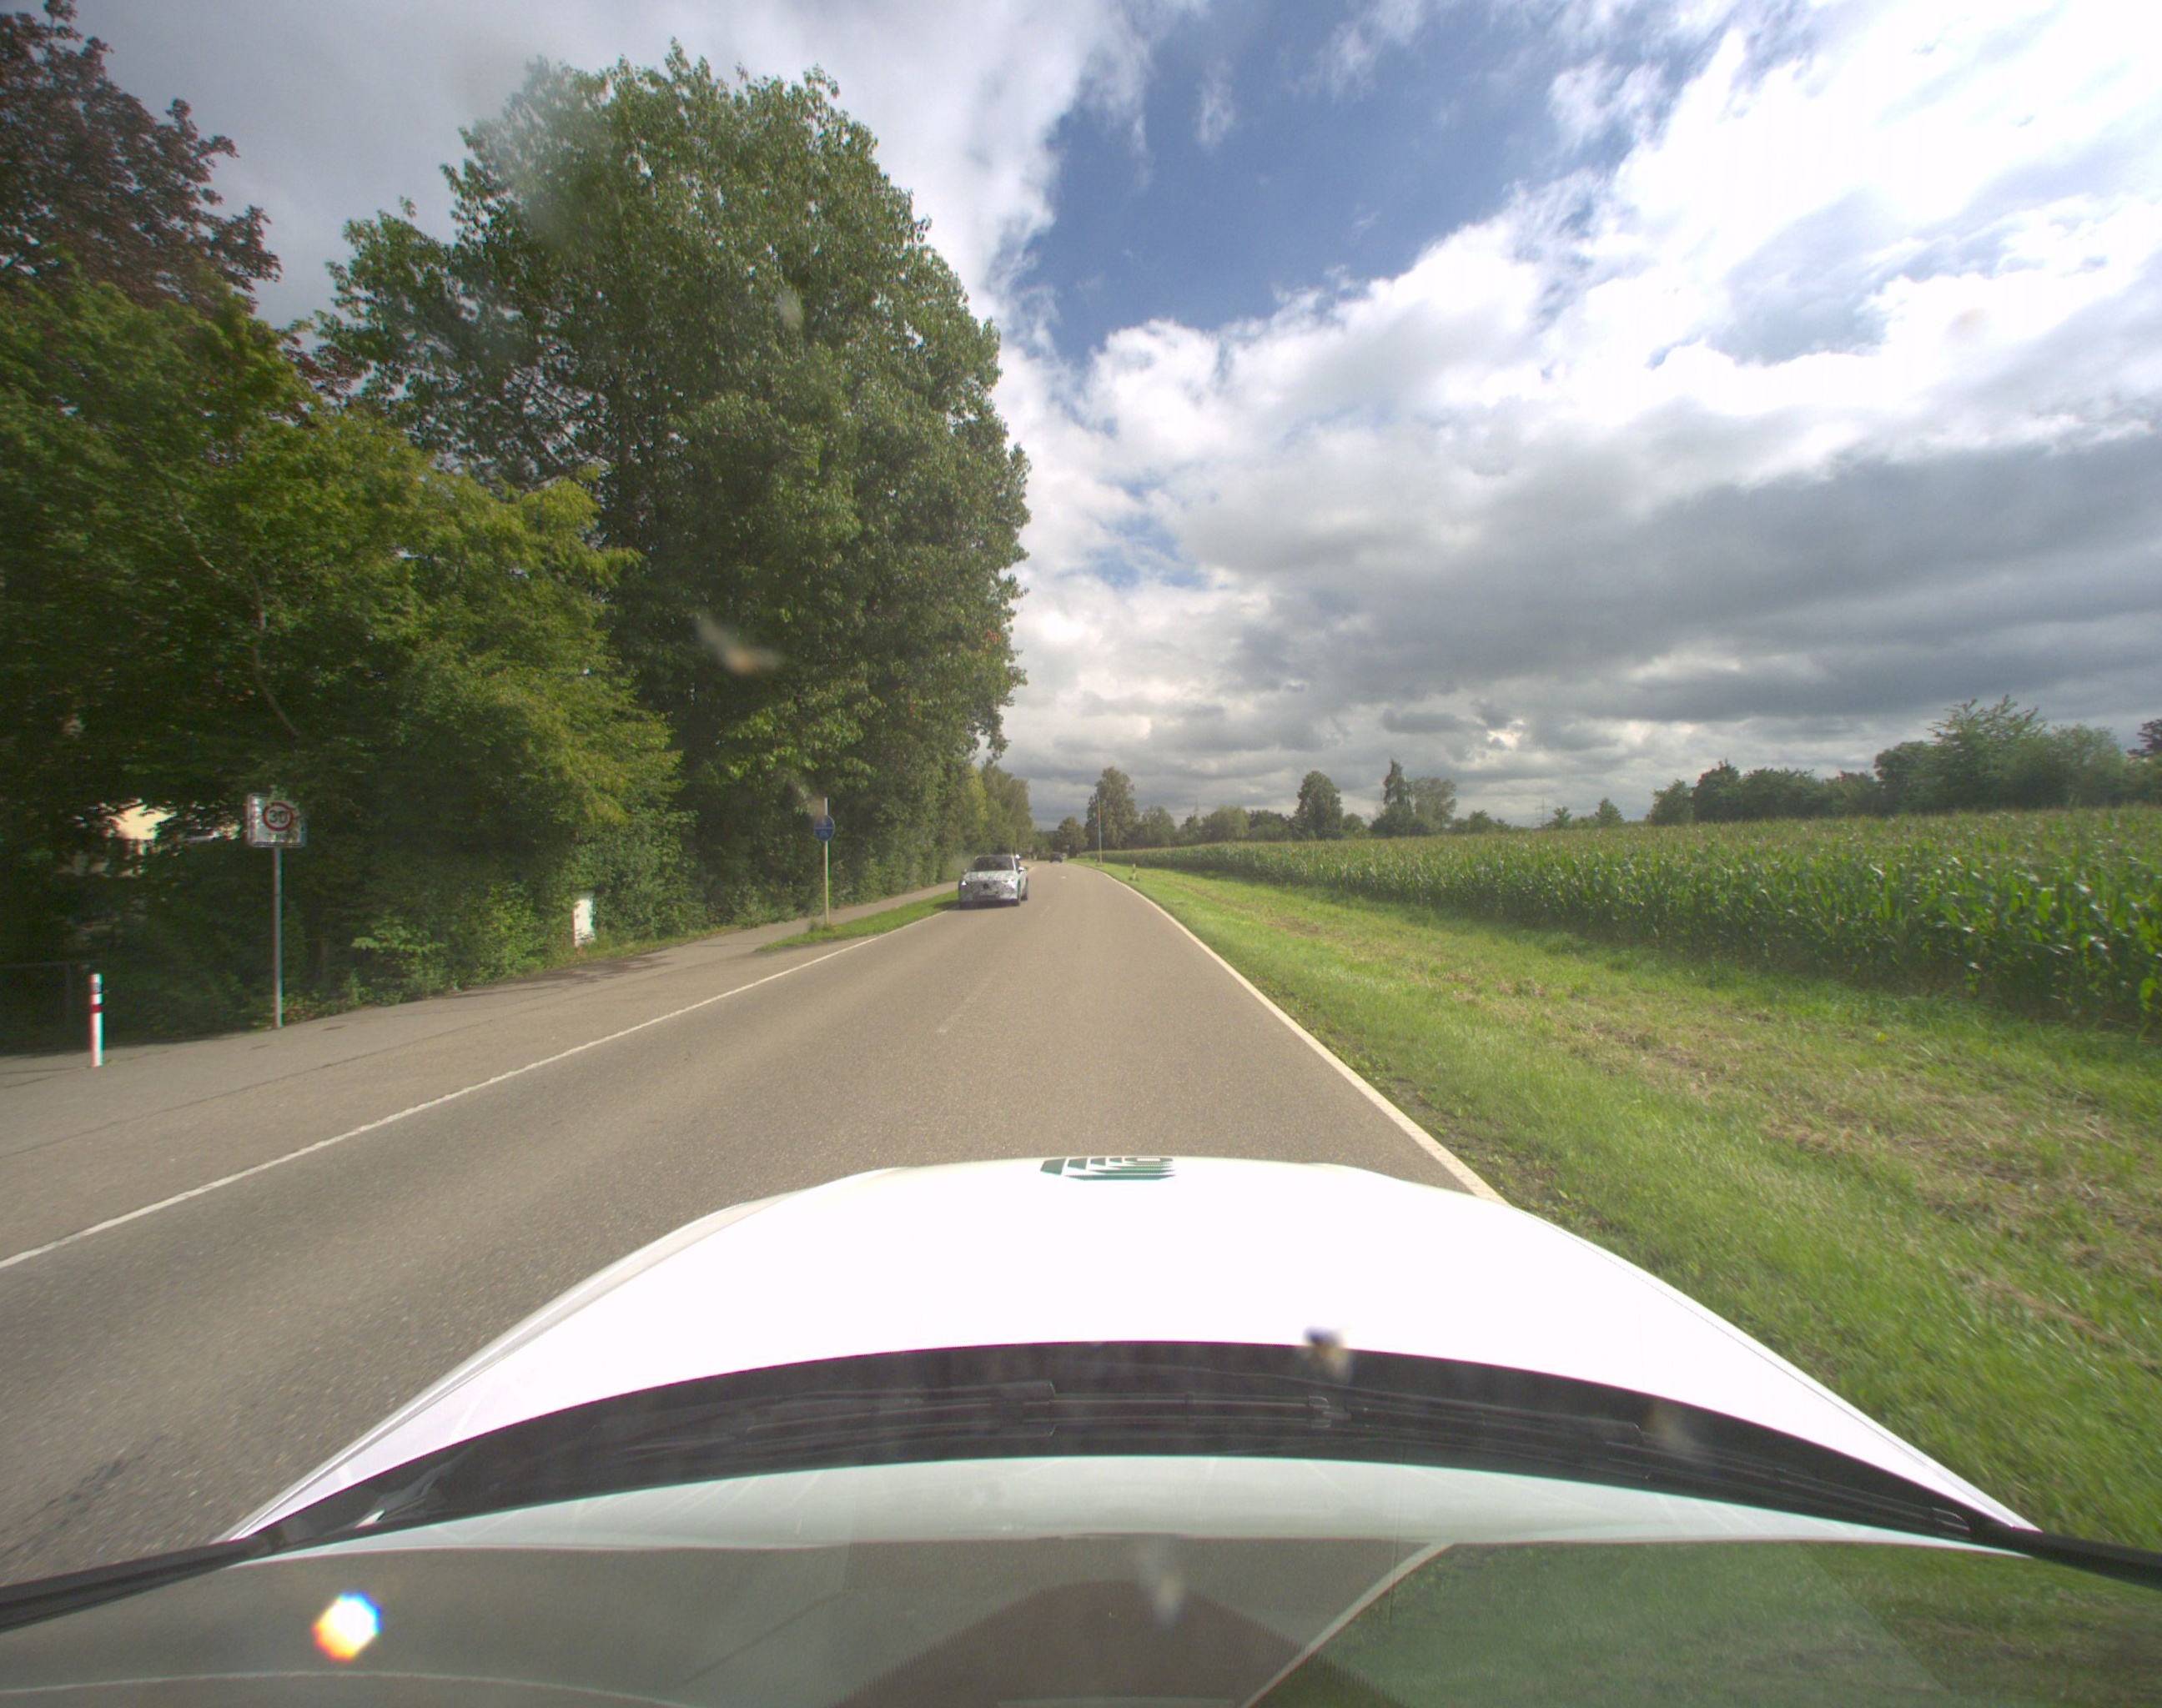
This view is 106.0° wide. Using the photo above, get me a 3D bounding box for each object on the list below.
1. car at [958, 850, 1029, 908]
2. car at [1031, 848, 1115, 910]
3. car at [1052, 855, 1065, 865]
[{"bbox_3d":[-2.764,0.758,26.708,1.805,1.650,4.291,-3,0,0],"label":"car"},{"bbox_3d":[-0.362,0.833,28.365,1.997,2.014,3.980,1,-1,-15],"label":"car"},{"bbox_3d":[-3.686,1.044,133.064,1.988,1.585,3.997,1,-1,-2],"label":"car"}]
